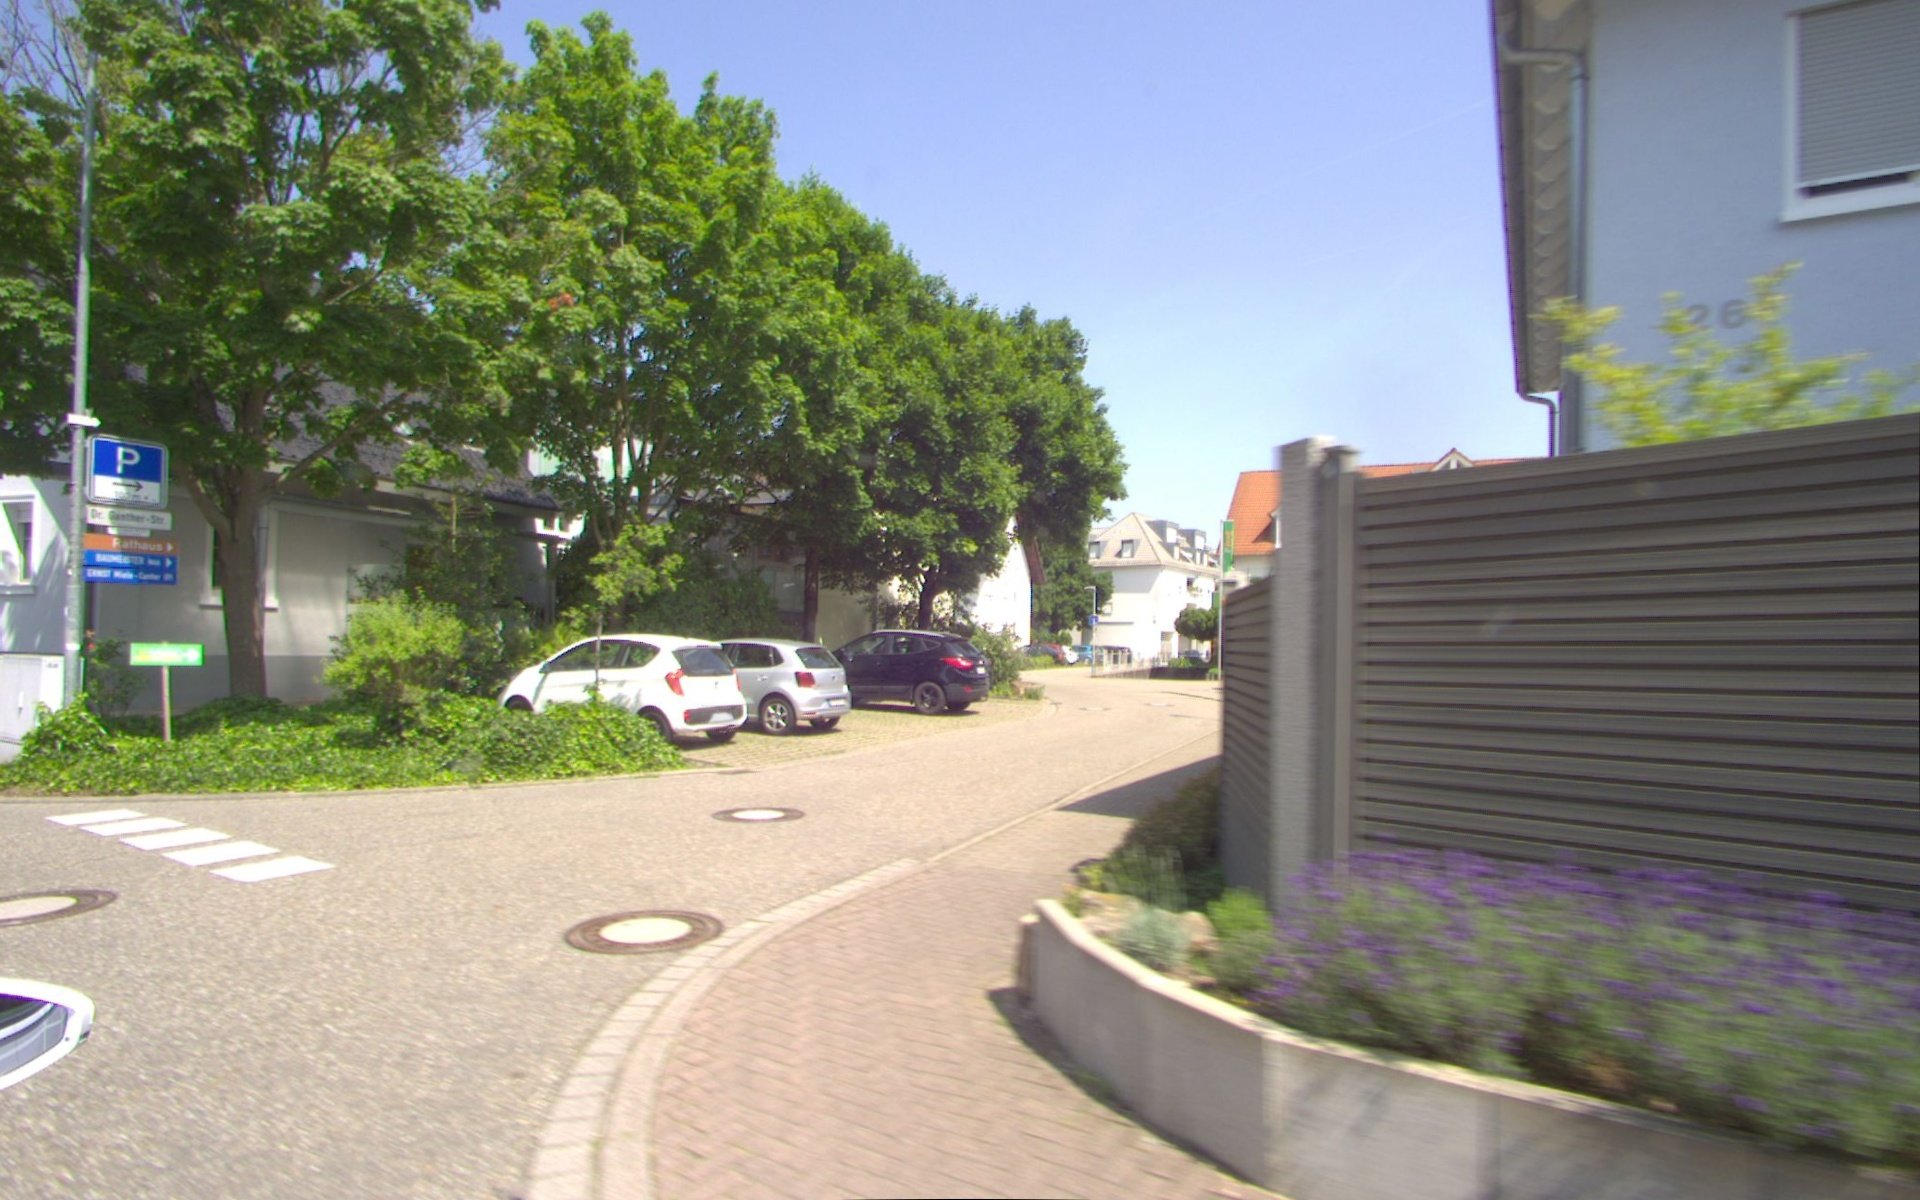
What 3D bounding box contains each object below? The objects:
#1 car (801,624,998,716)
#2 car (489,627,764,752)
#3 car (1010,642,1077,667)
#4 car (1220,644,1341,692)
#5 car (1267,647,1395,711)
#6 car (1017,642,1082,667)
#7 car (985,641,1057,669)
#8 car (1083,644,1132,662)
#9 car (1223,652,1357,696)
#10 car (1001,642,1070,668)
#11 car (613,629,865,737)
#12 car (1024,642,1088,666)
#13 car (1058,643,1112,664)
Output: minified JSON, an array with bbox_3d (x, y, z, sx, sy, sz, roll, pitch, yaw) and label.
[{"bbox_3d":[-1.277,1.431,21.214,3.796,1.705,1.594,2,-1,20],"label":"car"},{"bbox_3d":[-4.713,1.190,14.165,3.507,1.463,1.593,1,-1,24],"label":"car"},{"bbox_3d":[5.593,3.645,66.961,4.151,1.629,1.811,0,-2,19],"label":"car"},{"bbox_3d":[11.652,2.467,36.459,3.931,1.620,1.700,2,-2,-18],"label":"car"},{"bbox_3d":[10.002,2.067,26.853,1.686,1.520,4.060,0,-2,45],"label":"car"},{"bbox_3d":[6.190,3.743,69.019,4.151,1.629,1.811,0,-2,19],"label":"car"},{"bbox_3d":[3.772,3.395,61.782,4.151,1.629,1.811,0,-2,19],"label":"car"},{"bbox_3d":[13.341,4.784,90.697,4.151,1.629,1.811,0,-2,19],"label":"car"},{"bbox_3d":[10.915,2.442,33.199,3.929,1.323,1.701,2,-1,-16],"label":"car"},{"bbox_3d":[4.899,3.538,64.729,4.151,1.629,1.811,0,-2,19],"label":"car"},{"bbox_3d":[-3.648,1.303,16.530,3.798,1.492,1.593,1,-1,23],"label":"car"},{"bbox_3d":[6.811,3.835,70.954,4.151,1.629,1.811,0,-2,19],"label":"car"},{"bbox_3d":[10.247,4.368,82.088,4.151,1.629,1.811,0,-2,19],"label":"car"}]
